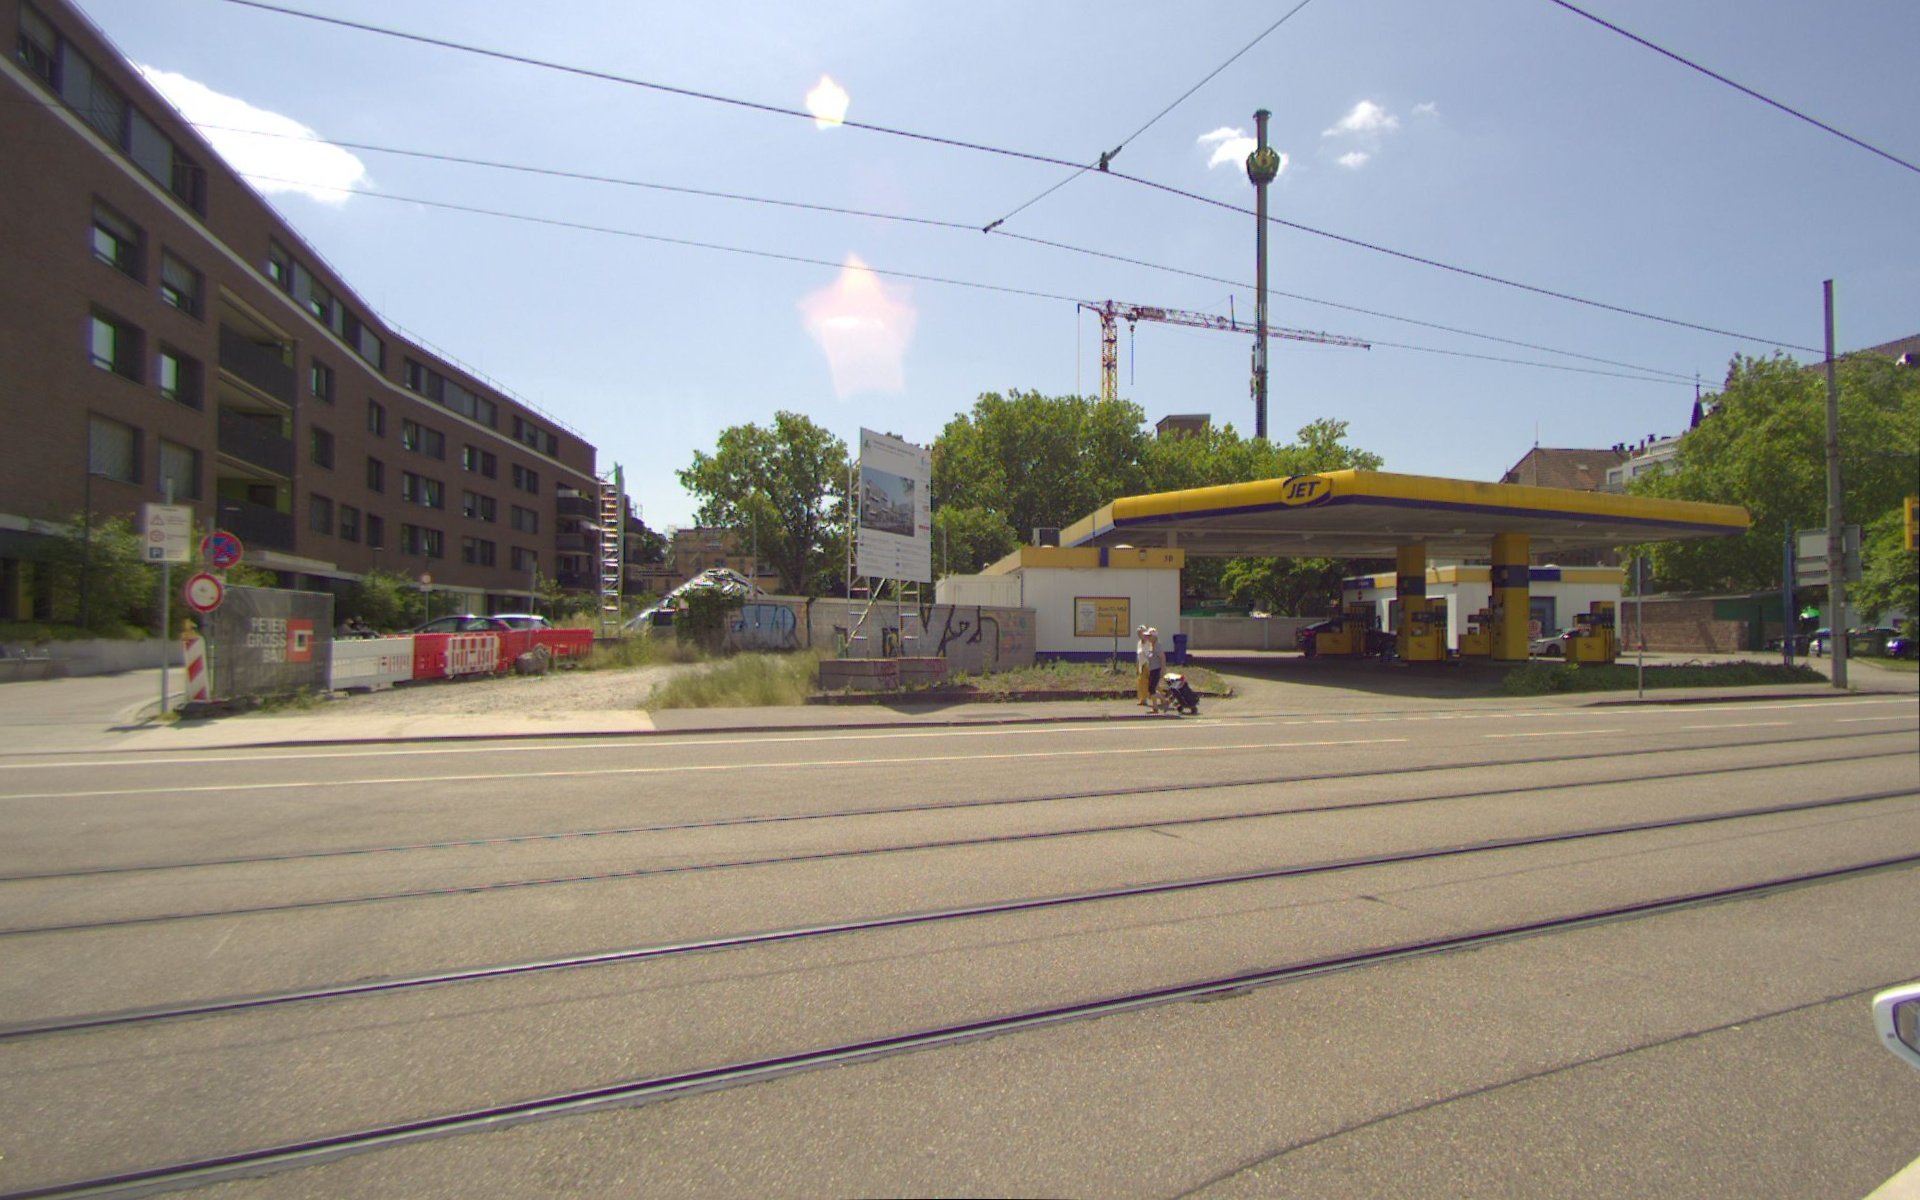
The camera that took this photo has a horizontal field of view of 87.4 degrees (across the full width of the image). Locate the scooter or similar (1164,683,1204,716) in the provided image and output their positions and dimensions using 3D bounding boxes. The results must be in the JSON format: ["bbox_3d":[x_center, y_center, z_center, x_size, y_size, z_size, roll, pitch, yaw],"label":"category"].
[{"bbox_3d":[4.368,1.931,19.595,0.621,0.588,0.476,1,-1,-18],"label":"scooter or similar"}]

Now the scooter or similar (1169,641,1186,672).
[{"bbox_3d":[6.610,1.722,30.580,0.322,0.942,0.404,1,-1,-26],"label":"scooter or similar"}]

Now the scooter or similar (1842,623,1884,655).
[{"bbox_3d":[43.026,1.839,47.859,1.044,1.486,1.170,2,-2,-23],"label":"scooter or similar"}]

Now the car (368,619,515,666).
[{"bbox_3d":[-16.110,1.318,31.384,3.849,1.398,1.622,1,-1,-19],"label":"car"}]

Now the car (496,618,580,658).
[{"bbox_3d":[-15.298,1.369,36.531,2.695,1.398,1.220,1,-1,-19],"label":"car"}]

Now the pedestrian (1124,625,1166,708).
[{"bbox_3d":[3.805,1.355,20.672,0.662,1.680,0.552,1,-1,-21],"label":"pedestrian"}]

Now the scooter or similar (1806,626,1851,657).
[{"bbox_3d":[42.853,2.058,49.566,1.042,1.486,1.313,1,-2,-17],"label":"scooter or similar"}]

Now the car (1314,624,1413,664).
[{"bbox_3d":[17.732,1.963,44.222,3.697,1.725,1.603,0,-3,-3],"label":"car"}]

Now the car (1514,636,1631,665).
[{"bbox_3d":[30.626,2.517,50.299,4.914,1.383,1.840,1,-2,-5],"label":"car"}]

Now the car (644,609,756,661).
[{"bbox_3d":[-10.648,1.457,41.209,3.920,2.039,2.002,0,-4,17],"label":"car"}]

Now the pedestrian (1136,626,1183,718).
[{"bbox_3d":[3.777,1.347,19.029,0.657,1.693,0.579,1,-1,-20],"label":"pedestrian"}]

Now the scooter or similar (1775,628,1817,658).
[{"bbox_3d":[42.885,2.189,51.550,1.042,1.486,1.313,1,-1,-17],"label":"scooter or similar"}]

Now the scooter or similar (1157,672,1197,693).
[{"bbox_3d":[4.515,1.717,20.915,0.662,0.400,0.472,1,-1,-21],"label":"scooter or similar"}]
